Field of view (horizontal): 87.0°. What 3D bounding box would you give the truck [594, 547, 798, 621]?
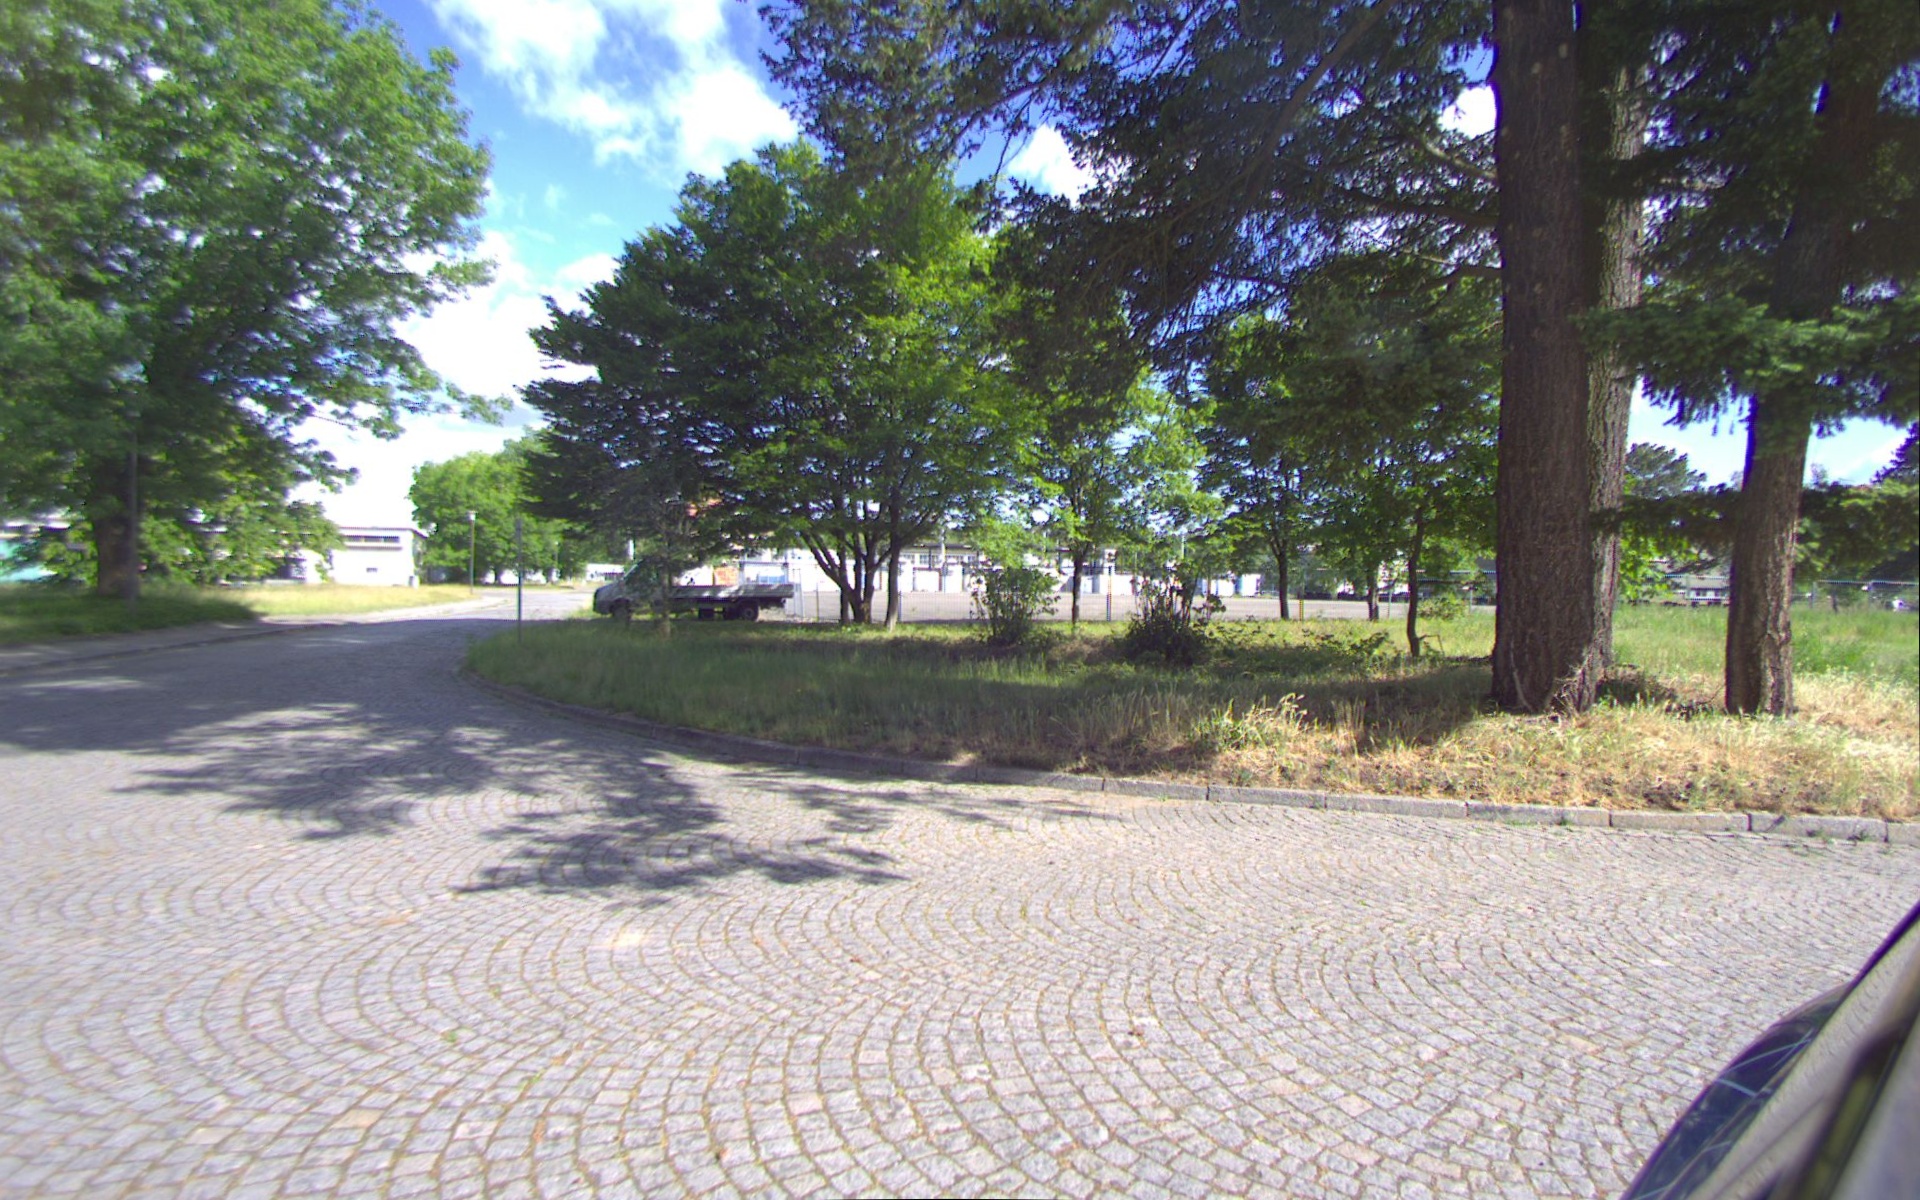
[{"bbox_3d":[-9.262,-0.518,35.724,6.741,2.455,2.245,0,-1,-17],"label":"truck"}]
